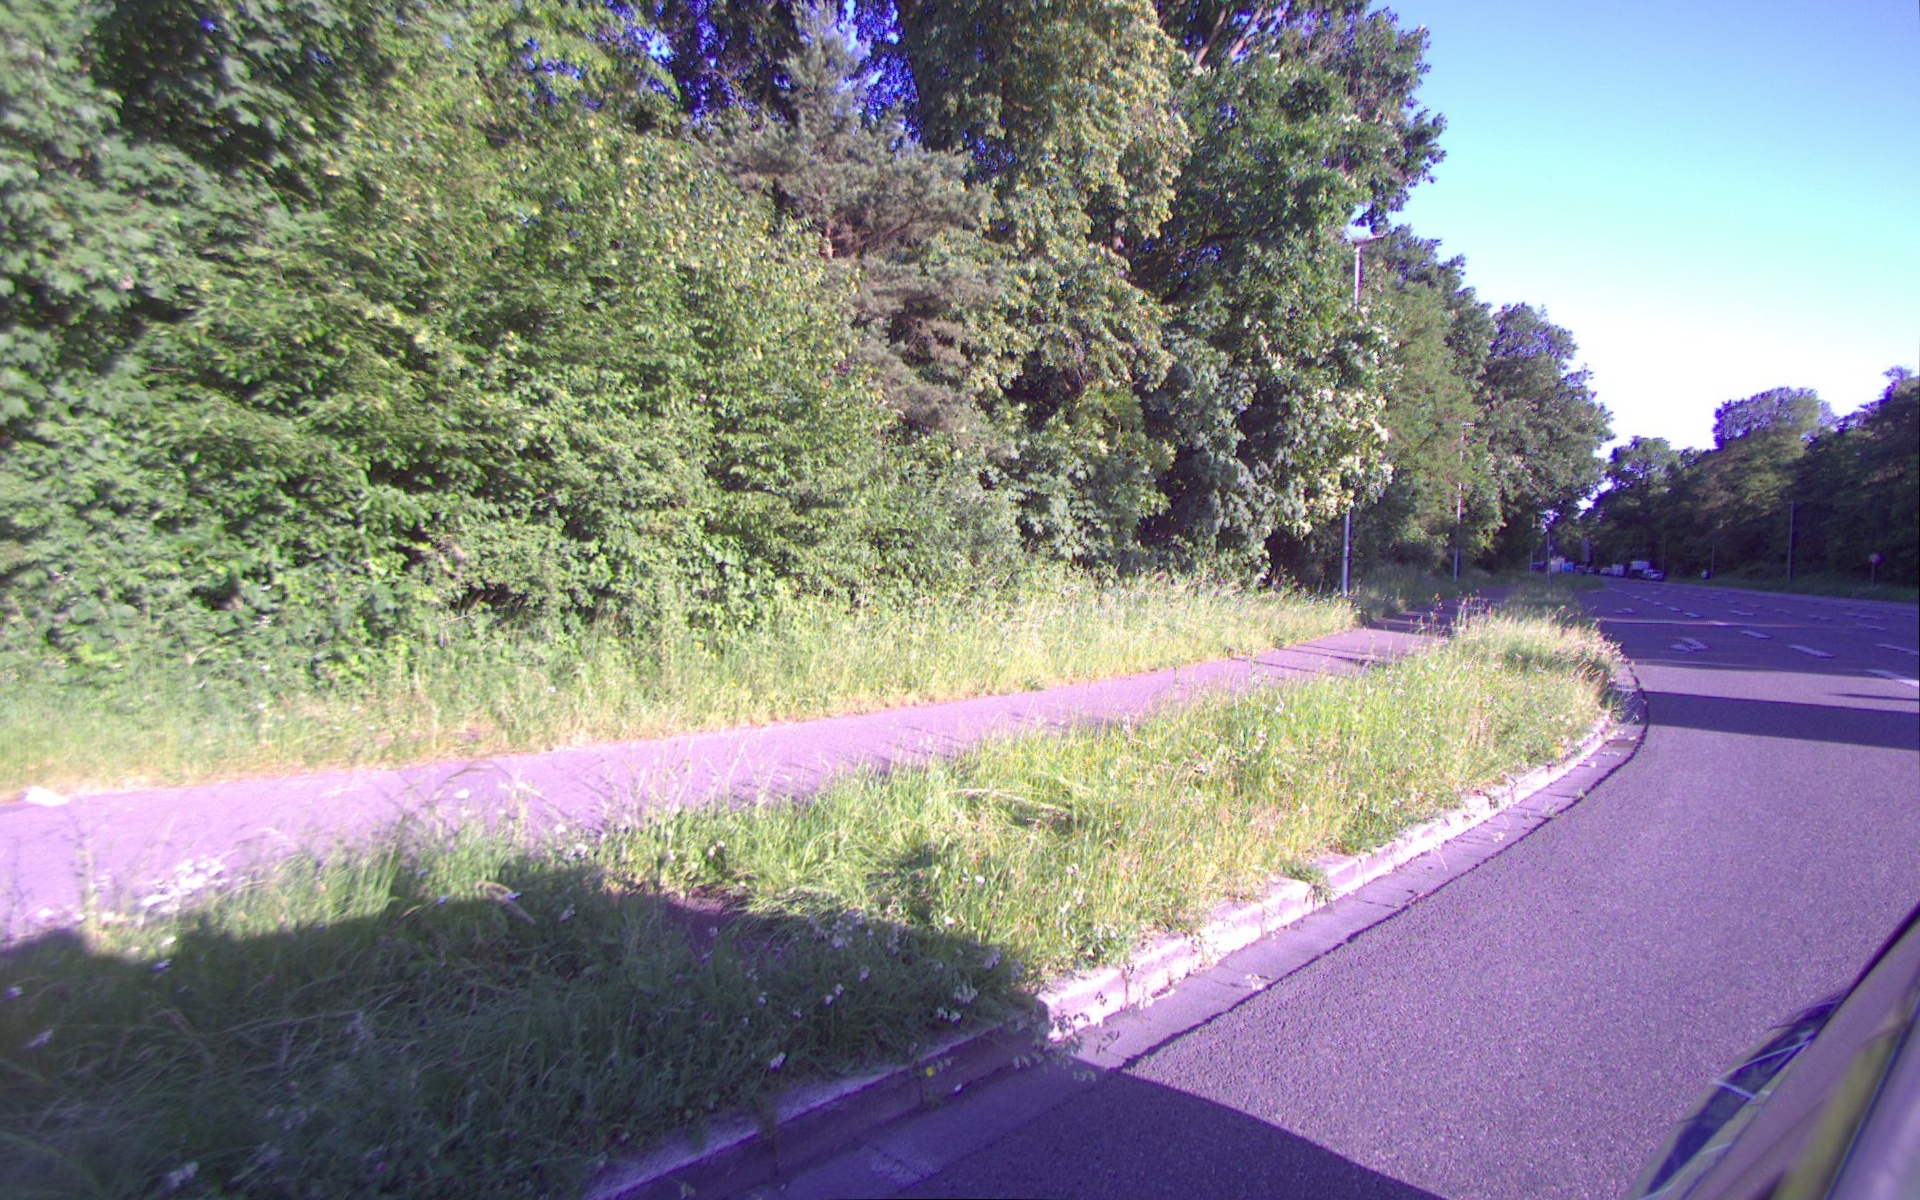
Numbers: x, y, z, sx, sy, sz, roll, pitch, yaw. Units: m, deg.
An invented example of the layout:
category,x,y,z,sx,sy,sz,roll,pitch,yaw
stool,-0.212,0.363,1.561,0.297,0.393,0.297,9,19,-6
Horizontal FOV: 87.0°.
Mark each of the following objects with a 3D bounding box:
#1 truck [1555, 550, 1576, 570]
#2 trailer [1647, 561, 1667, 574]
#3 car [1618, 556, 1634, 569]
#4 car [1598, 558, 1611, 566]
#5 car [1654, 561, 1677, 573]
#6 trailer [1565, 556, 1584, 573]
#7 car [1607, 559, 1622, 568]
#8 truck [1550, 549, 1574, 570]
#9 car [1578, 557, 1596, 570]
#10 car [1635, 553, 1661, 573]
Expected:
category,x,y,z,sx,sy,sz,roll,pitch,yaw
truck,92.948,-6.159,155.451,2.368,2.907,5.548,0,2,27
trailer,98.576,-4.631,143.205,1.791,1.750,3.615,4,4,27
car,119.403,-6.719,181.487,1.677,2.126,4.591,4,4,27
car,131.731,-7.683,206.769,1.791,1.522,3.877,4,4,27
car,96.526,-4.584,138.449,1.898,1.481,3.976,4,4,27
trailer,84.830,-4.942,139.791,1.853,2.204,4.092,1,3,27
car,124.630,-6.979,192.760,1.791,1.522,3.877,4,4,27
truck,97.712,-6.647,164.436,2.683,3.275,7.064,4,4,27
car,100.996,-5.840,163.081,1.980,2.038,3.967,2,3,25
car,104.352,-5.599,153.559,2.439,2.881,4.756,4,4,27
